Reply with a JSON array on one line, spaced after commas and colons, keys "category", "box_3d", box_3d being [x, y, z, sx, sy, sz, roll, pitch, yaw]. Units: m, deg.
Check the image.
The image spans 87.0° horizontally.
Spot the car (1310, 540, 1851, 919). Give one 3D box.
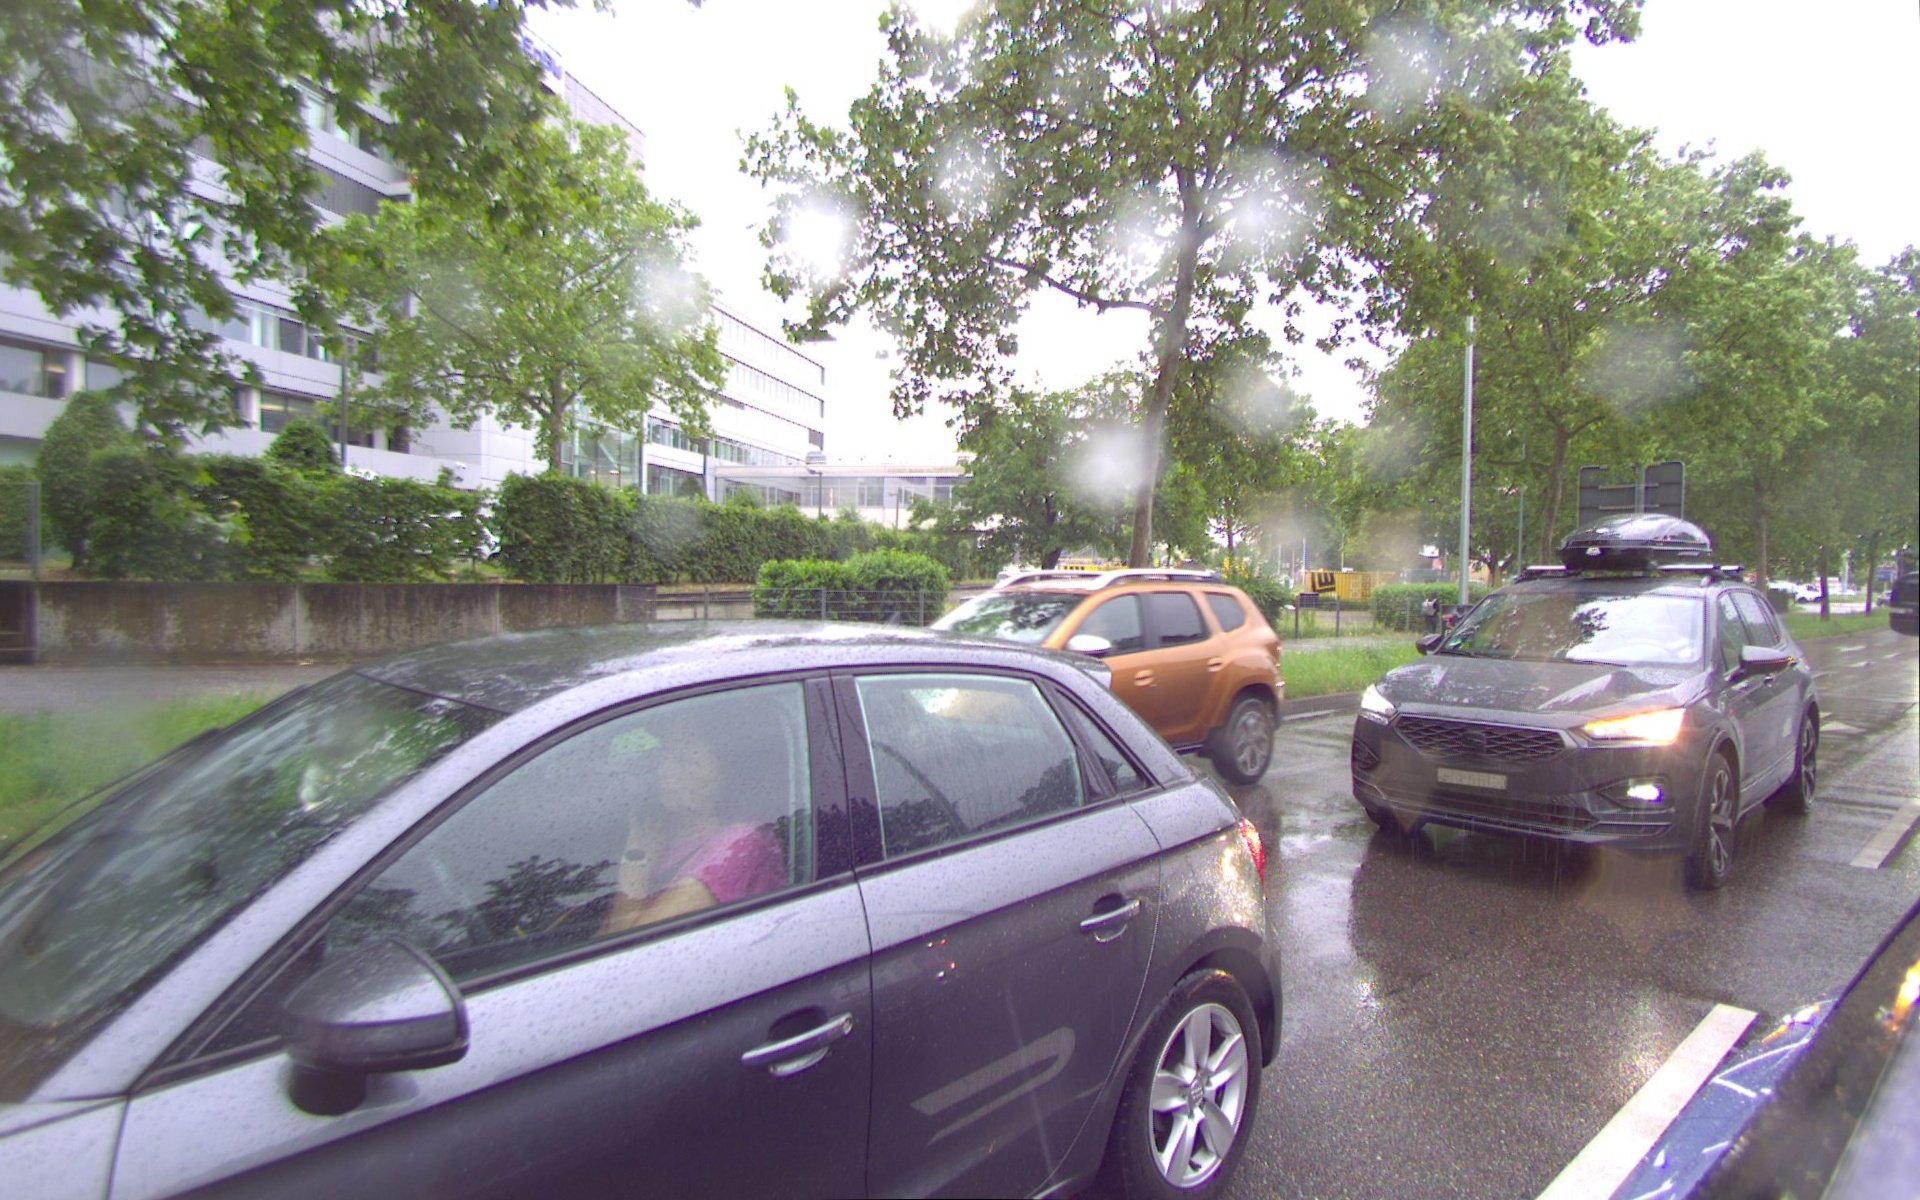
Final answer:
[{"category": "car", "box_3d": [4.333, 0.562, 6.748, 4.347, 1.719, 1.892, 0, 1, -42]}]

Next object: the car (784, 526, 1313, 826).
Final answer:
[{"category": "car", "box_3d": [0.858, 0.458, 7.740, 4.074, 1.707, 1.677, 1, -1, -41]}]

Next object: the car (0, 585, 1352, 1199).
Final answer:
[{"category": "car", "box_3d": [-0.890, 0.703, 2.145, 3.715, 1.446, 1.679, 0, 1, -41]}]

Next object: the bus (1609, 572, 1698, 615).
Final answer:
[{"category": "bus", "box_3d": [43.732, -0.415, 63.918, 1.681, 2.600, 4.366, 0, 0, -41]}]

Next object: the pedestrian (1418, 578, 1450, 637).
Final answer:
[{"category": "pedestrian", "box_3d": [14.143, 0.219, 30.187, 0.645, 1.738, 0.645, 0, 0, -40]}]

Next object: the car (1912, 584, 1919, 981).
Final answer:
[{"category": "car", "box_3d": [6.329, 0.176, 4.957, 5.599, 2.544, 2.024, 0, 1, -43]}]

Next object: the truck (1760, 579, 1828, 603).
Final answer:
[{"category": "truck", "box_3d": [85.199, -0.910, 103.468, 4.988, 2.406, 1.785, 0, 0, 19]}]

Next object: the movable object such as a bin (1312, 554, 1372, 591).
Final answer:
[{"category": "movable object such as a bin", "box_3d": [36.156, -2.579, 95.858, 4.840, 3.478, 1.920, 0, 0, -4]}]
